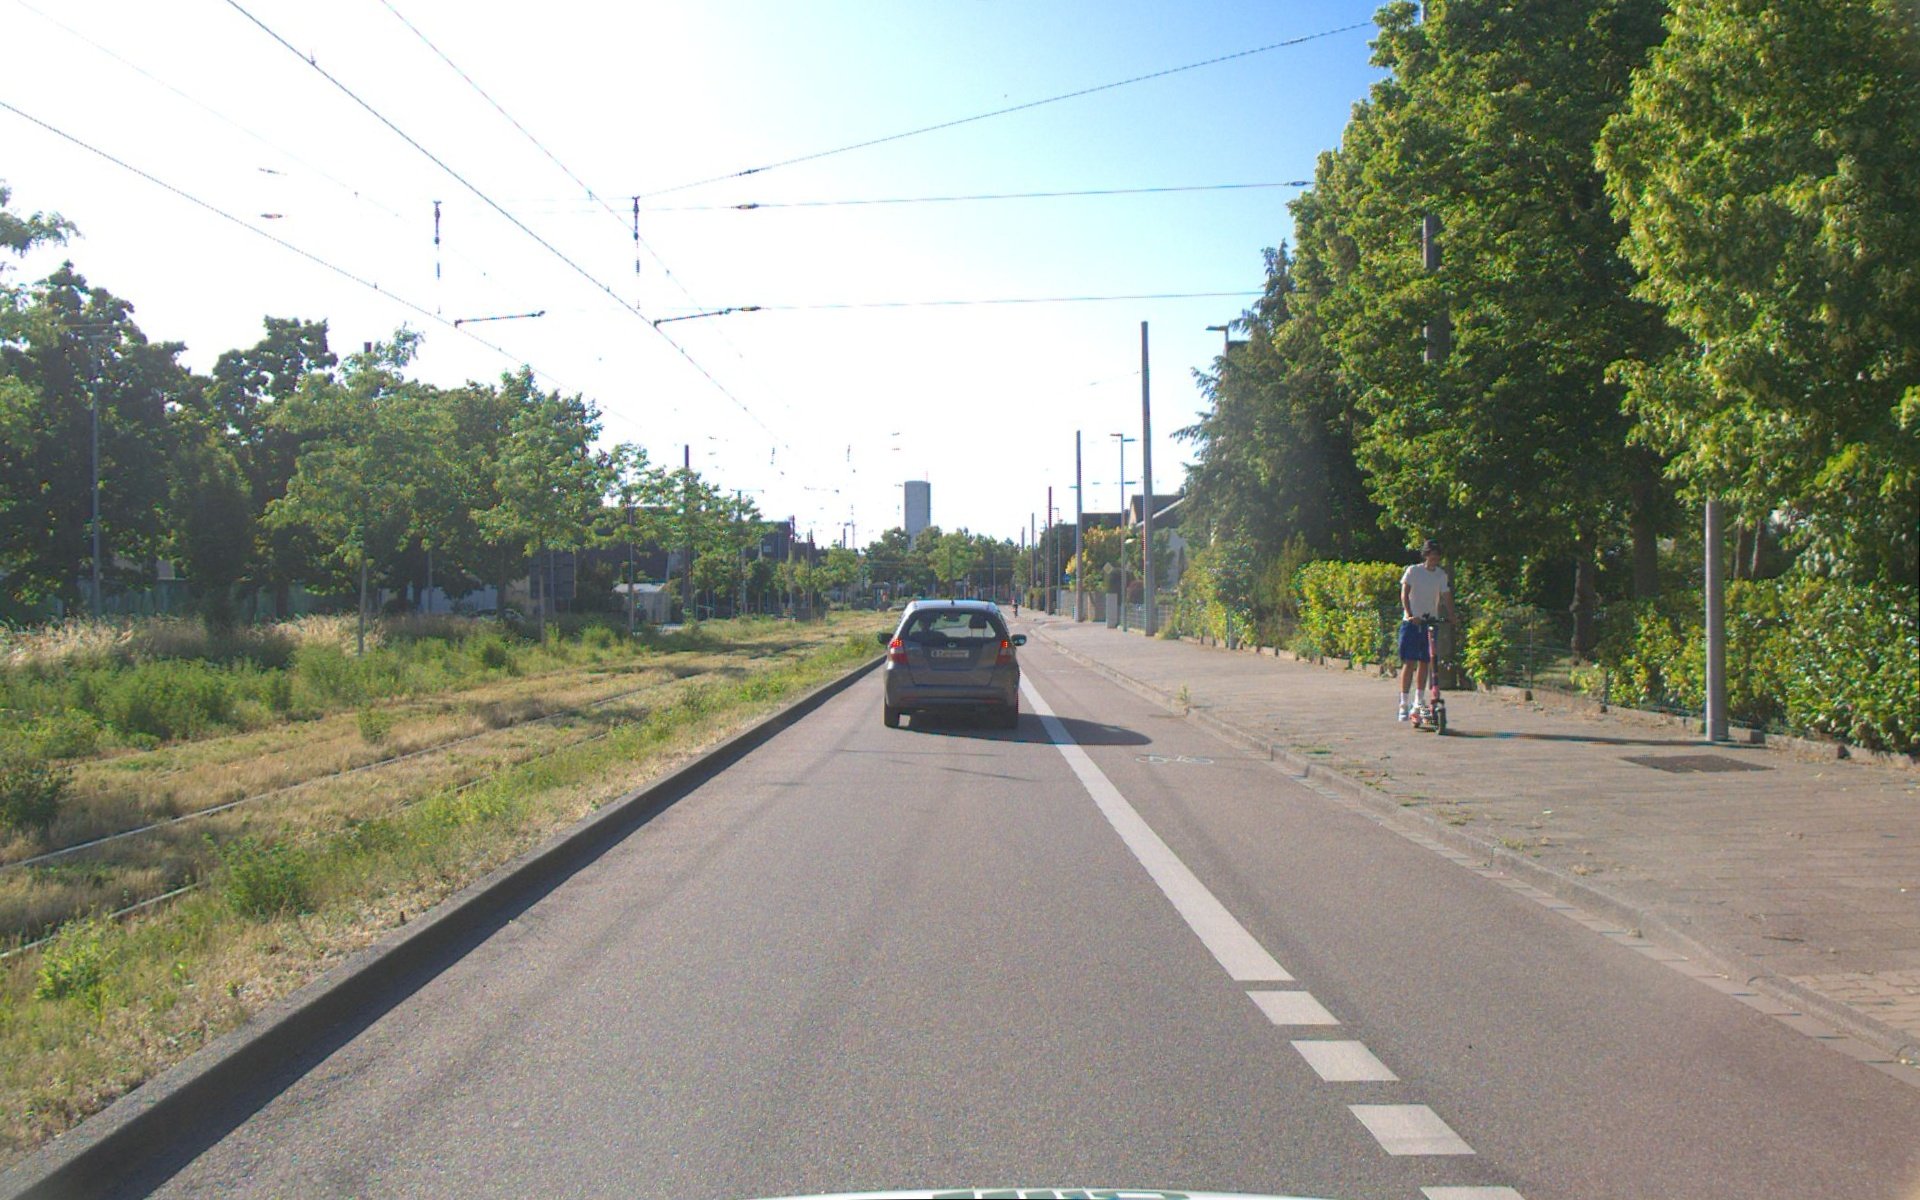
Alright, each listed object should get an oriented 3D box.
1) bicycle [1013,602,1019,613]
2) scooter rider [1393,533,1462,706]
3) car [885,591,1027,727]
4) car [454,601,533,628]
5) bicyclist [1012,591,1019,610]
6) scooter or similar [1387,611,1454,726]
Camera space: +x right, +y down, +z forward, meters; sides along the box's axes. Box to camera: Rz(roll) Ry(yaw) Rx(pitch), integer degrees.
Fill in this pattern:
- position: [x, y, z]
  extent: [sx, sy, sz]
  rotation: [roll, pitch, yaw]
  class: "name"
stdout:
- position: [4.961, 0.629, 146.000]
  extent: [0.465, 0.978, 1.657]
  rotation: [1, 0, 1]
  class: "bicycle"
- position: [4.952, 0.196, 17.535]
  extent: [0.539, 1.798, 0.599]
  rotation: [0, 0, -1]
  class: "scooter rider"
- position: [-0.068, 0.696, 21.087]
  extent: [1.636, 1.562, 3.486]
  rotation: [1, 0, -1]
  class: "car"
- position: [-26.457, 0.810, 93.881]
  extent: [3.905, 1.428, 1.852]
  rotation: [-1, -2, -1]
  class: "car"
- position: [4.927, 0.054, 145.885]
  extent: [0.586, 1.731, 0.683]
  rotation: [1, -1, 1]
  class: "bicyclist"
- position: [4.860, 0.701, 17.510]
  extent: [0.341, 1.157, 1.208]
  rotation: [-1, 0, -1]
  class: "scooter or similar"
